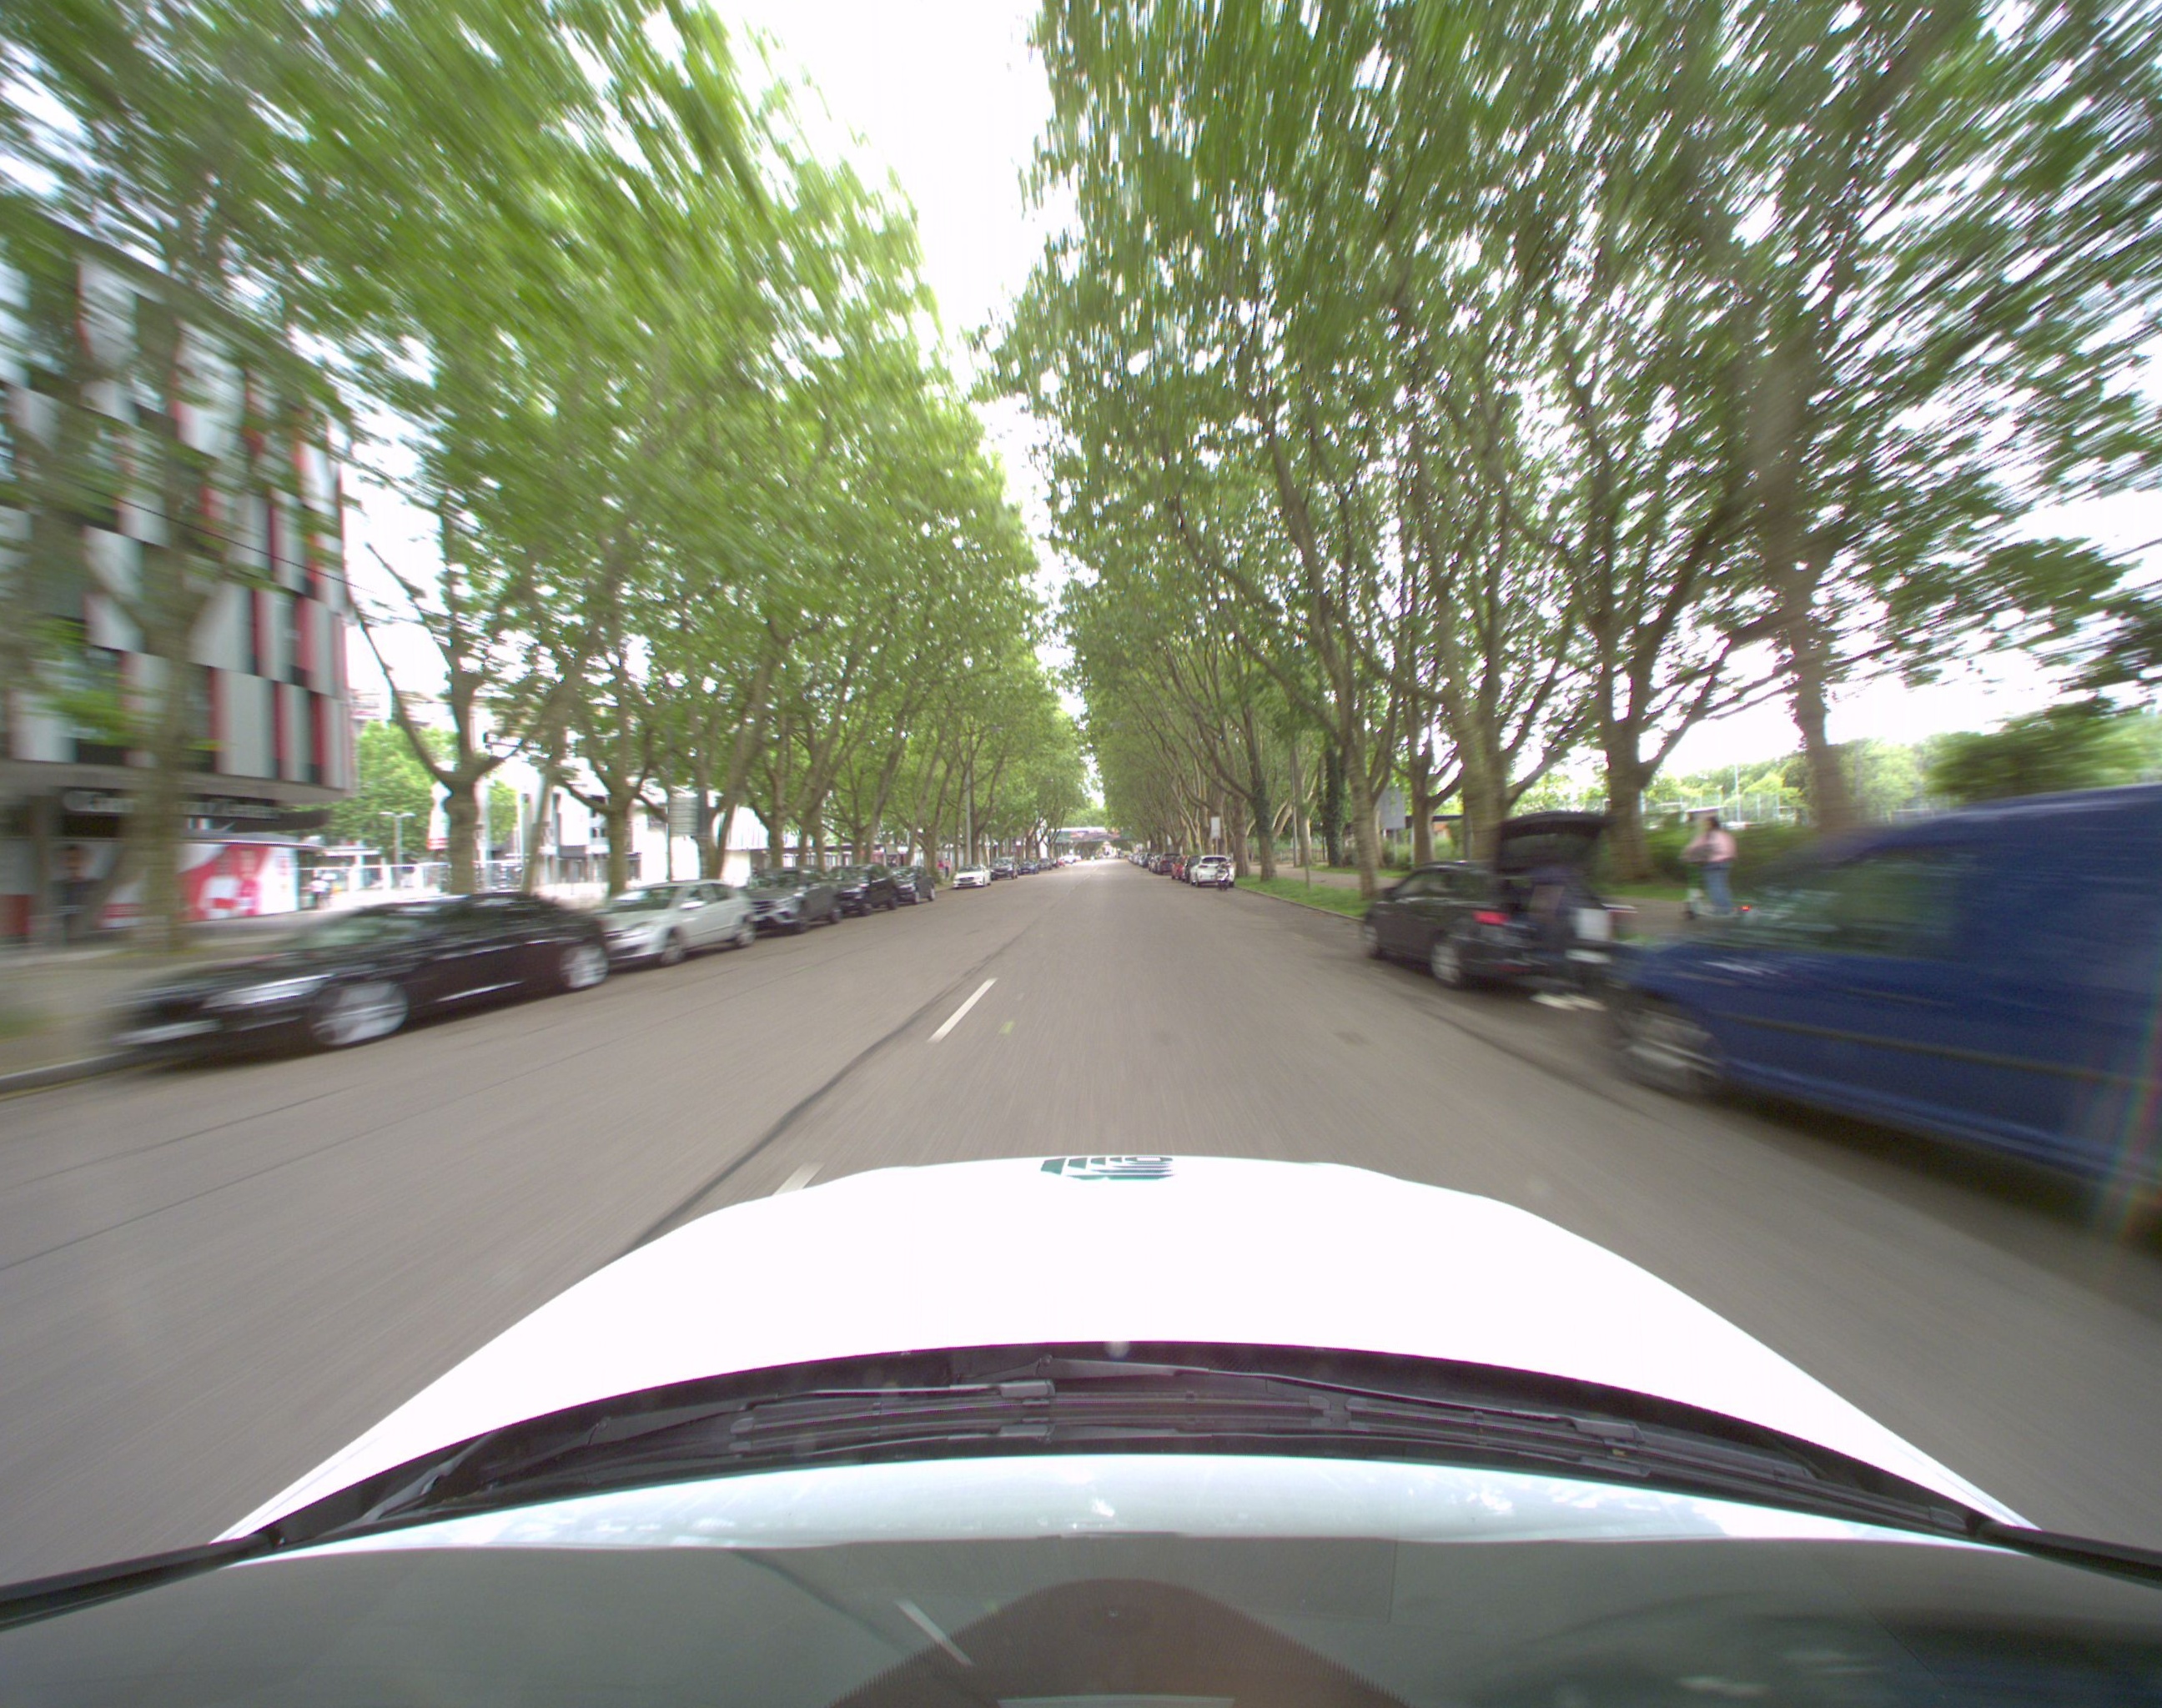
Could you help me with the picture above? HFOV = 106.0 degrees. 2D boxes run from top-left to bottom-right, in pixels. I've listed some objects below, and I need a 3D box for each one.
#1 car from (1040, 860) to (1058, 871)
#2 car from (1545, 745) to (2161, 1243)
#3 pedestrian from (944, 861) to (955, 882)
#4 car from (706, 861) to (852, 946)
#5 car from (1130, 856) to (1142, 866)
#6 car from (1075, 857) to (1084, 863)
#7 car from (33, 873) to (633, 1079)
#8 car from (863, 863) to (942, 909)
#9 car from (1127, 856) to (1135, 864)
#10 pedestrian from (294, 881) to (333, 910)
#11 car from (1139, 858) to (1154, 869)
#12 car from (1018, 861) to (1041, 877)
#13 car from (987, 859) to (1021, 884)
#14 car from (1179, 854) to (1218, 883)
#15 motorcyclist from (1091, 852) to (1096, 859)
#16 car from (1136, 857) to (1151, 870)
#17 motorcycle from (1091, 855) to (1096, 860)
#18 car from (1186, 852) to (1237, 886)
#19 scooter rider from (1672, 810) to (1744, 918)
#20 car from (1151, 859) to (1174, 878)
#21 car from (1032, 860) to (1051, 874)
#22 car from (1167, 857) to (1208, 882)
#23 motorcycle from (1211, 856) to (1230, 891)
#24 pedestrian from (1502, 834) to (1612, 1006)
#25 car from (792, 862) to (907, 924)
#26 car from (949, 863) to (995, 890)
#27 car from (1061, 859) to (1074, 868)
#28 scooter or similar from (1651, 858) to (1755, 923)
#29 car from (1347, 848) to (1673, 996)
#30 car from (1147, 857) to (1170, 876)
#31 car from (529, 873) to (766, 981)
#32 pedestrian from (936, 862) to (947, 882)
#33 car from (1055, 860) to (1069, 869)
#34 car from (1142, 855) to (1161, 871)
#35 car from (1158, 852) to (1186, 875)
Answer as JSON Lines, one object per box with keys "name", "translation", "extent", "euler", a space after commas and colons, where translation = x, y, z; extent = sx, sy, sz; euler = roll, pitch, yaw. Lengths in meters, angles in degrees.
{"name": "car", "translation": [-4.324, 1.561, 110.764], "extent": [1.818, 1.465, 4.632], "euler": [-3, -1, 4]}
{"name": "car", "translation": [4.667, 0.502, 4.071], "extent": [1.840, 1.783, 4.437], "euler": [0, 0, -6]}
{"name": "pedestrian", "translation": [-11.461, 1.542, 71.078], "extent": [0.572, 1.770, 0.771], "euler": [-2, -1, 17]}
{"name": "car", "translation": [-7.419, 1.127, 20.553], "extent": [1.864, 1.718, 4.646], "euler": [-5, 0, -1]}
{"name": "car", "translation": [9.442, 1.160, 139.202], "extent": [1.796, 1.555, 4.001], "euler": [-2, 0, 1]}
{"name": "car", "translation": [-0.367, 1.485, 204.881], "extent": [1.989, 1.601, 3.995], "euler": [-1, 0, -3]}
{"name": "car", "translation": [-7.940, 1.129, 9.656], "extent": [2.075, 1.530, 5.150], "euler": [-3, 0, 3]}
{"name": "car", "translation": [-6.921, 1.191, 31.999], "extent": [1.826, 1.494, 4.445], "euler": [-5, 0, 2]}
{"name": "car", "translation": [11.371, 1.369, 185.605], "extent": [1.840, 1.783, 5.214], "euler": [-1, -1, 2]}
{"name": "pedestrian", "translation": [-41.517, 2.220, 44.064], "extent": [1.041, 1.462, 1.110], "euler": [-2, -1, -1]}
{"name": "car", "translation": [8.220, 1.171, 102.443], "extent": [1.701, 1.427, 3.891], "euler": [0, 0, 2]}
{"name": "car", "translation": [-5.076, 1.430, 81.002], "extent": [1.718, 1.486, 4.577], "euler": [-2, 0, 2]}
{"name": "car", "translation": [-5.950, 1.319, 63.284], "extent": [1.942, 1.750, 4.640], "euler": [-4, -1, 2]}
{"name": "car", "translation": [6.295, 0.749, 43.815], "extent": [1.723, 1.470, 4.083], "euler": [1, 0, 3]}
{"name": "motorcyclist", "translation": [2.768, 0.349, 182.154], "extent": [0.868, 1.480, 1.264], "euler": [-2, -1, -1]}
{"name": "car", "translation": [8.844, 1.401, 116.160], "extent": [1.895, 1.739, 4.508], "euler": [-2, -1, 2]}
{"name": "motorcycle", "translation": [2.772, 0.773, 182.168], "extent": [0.871, 1.079, 3.051], "euler": [-2, 0, -1]}
{"name": "car", "translation": [6.029, 0.683, 38.129], "extent": [1.729, 1.438, 4.123], "euler": [-2, 0, 1]}
{"name": "scooter rider", "translation": [10.904, 0.171, 14.177], "extent": [0.674, 1.800, 0.587], "euler": [-4, -1, 2]}
{"name": "car", "translation": [6.597, 1.163, 66.207], "extent": [1.661, 1.509, 4.356], "euler": [0, 0, 2]}
{"name": "car", "translation": [-4.789, 1.570, 99.003], "extent": [1.870, 1.527, 4.153], "euler": [-3, 0, 2]}
{"name": "car", "translation": [6.312, 0.904, 48.651], "extent": [1.711, 1.438, 4.625], "euler": [0, 0, -2]}
{"name": "motorcycle", "translation": [5.652, 0.776, 32.990], "extent": [0.708, 1.331, 1.998], "euler": [-2, 0, 10]}
{"name": "pedestrian", "translation": [4.767, 0.637, 8.206], "extent": [0.631, 1.627, 0.743], "euler": [-2, -1, 2]}
{"name": "car", "translation": [-7.341, 1.175, 26.451], "extent": [1.929, 1.643, 4.932], "euler": [-5, 0, 3]}
{"name": "car", "translation": [-6.580, 1.347, 49.657], "extent": [1.897, 1.403, 4.754], "euler": [-5, -1, 2]}
{"name": "car", "translation": [-2.516, 1.755, 153.027], "extent": [2.065, 1.563, 4.759], "euler": [-2, 0, 2]}
{"name": "scooter or similar", "translation": [10.953, 0.614, 14.395], "extent": [0.677, 1.038, 1.468], "euler": [-5, 0, 2]}
{"name": "car", "translation": [5.041, 0.692, 10.408], "extent": [1.986, 1.478, 4.373], "euler": [-1, 0, 2]}
{"name": "car", "translation": [7.227, 1.161, 75.966], "extent": [1.771, 1.673, 4.638], "euler": [-2, -1, 1]}
{"name": "car", "translation": [-7.629, 1.202, 14.900], "extent": [1.826, 1.456, 4.232], "euler": [-5, 0, 2]}
{"name": "pedestrian", "translation": [-12.191, 1.567, 71.120], "extent": [0.570, 1.742, 0.771], "euler": [-2, -1, 17]}
{"name": "car", "translation": [-2.958, 1.641, 125.495], "extent": [1.801, 1.354, 4.002], "euler": [-2, 0, 2]}
{"name": "car", "translation": [7.728, 0.971, 89.473], "extent": [1.701, 1.698, 4.631], "euler": [0, 0, 1]}
{"name": "car", "translation": [6.617, 0.666, 59.674], "extent": [1.748, 1.620, 4.441], "euler": [0, 0, 2]}
